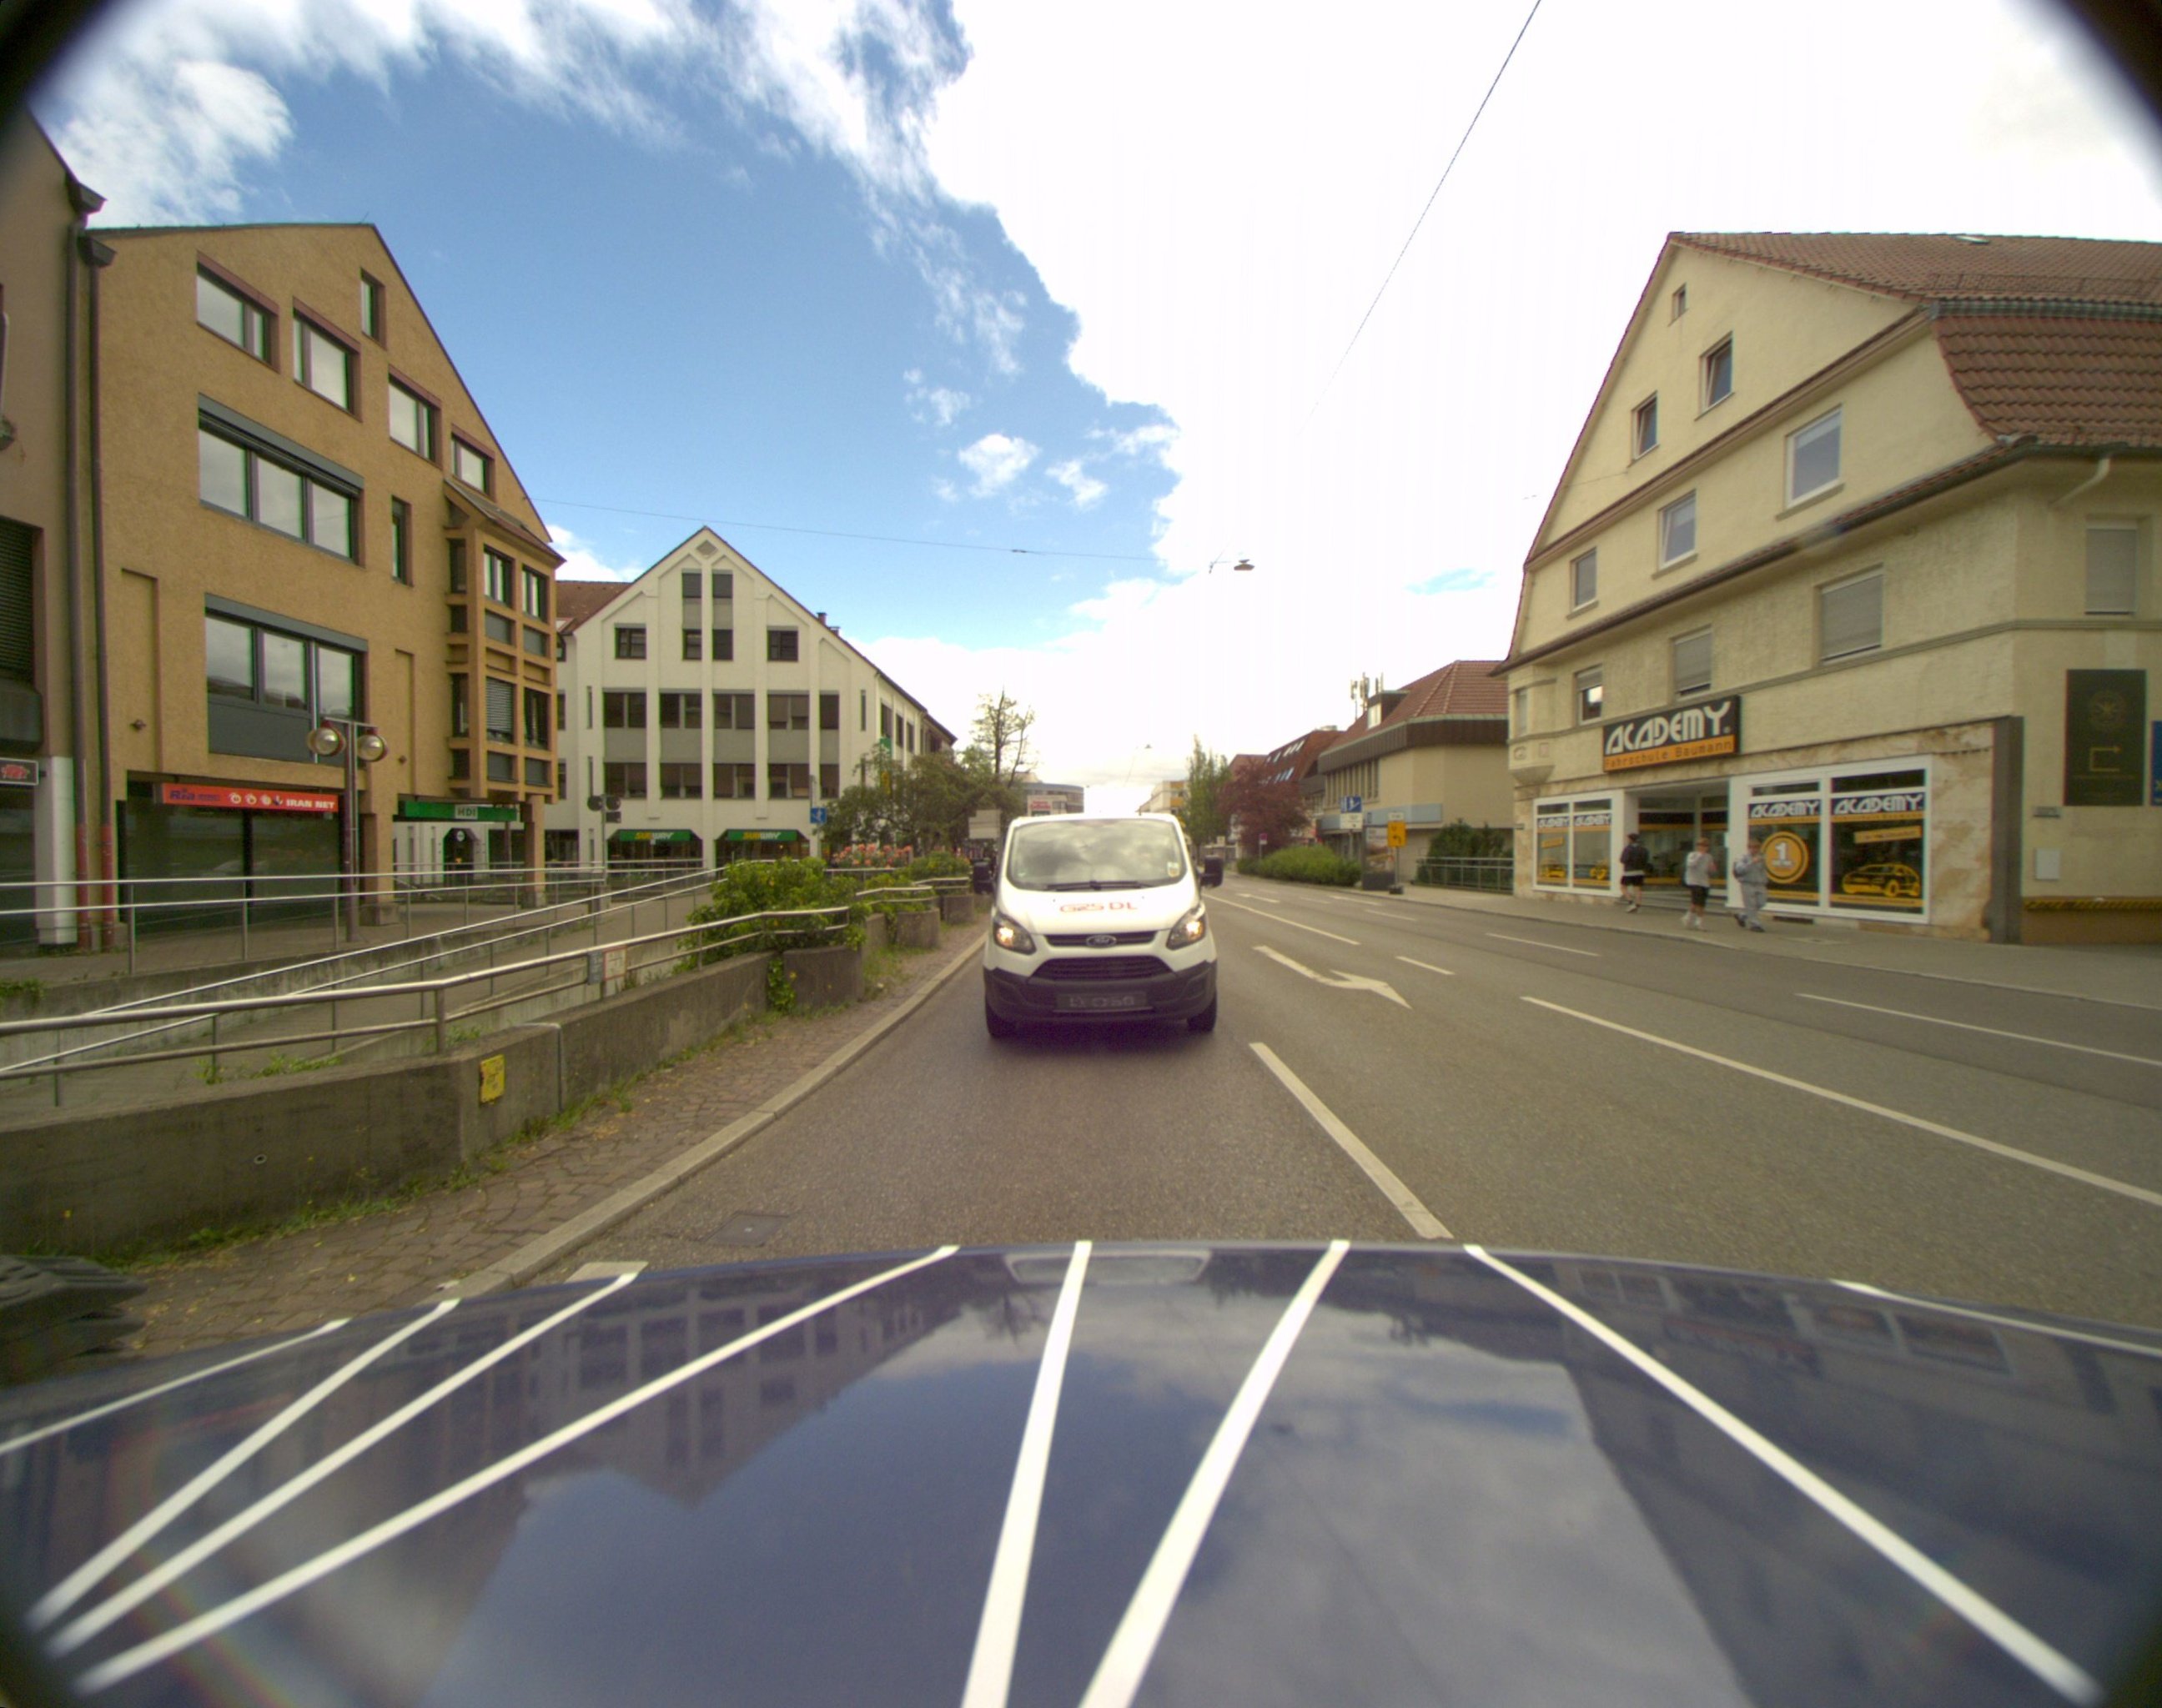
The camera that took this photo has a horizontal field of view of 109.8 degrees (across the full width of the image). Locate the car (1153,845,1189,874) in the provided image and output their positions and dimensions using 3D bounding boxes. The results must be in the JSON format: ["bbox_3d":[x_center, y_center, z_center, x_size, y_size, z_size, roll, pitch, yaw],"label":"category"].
[{"bbox_3d":[6.063,0.365,51.642,1.957,1.898,4.321,0,0,0],"label":"car"}]

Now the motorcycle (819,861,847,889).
[{"bbox_3d":[-10.132,0.838,31.090,0.464,1.062,1.995,0,0,0],"label":"motorcycle"}]

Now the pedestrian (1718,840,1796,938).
[{"bbox_3d":[12.081,0.611,13.592,0.689,1.660,0.709,-3,1,0],"label":"pedestrian"}]

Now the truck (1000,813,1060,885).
[{"bbox_3d":[-2.605,-0.292,41.398,2.446,3.464,8.346,-2,1,1],"label":"truck"}]

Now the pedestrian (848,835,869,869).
[{"bbox_3d":[-12.141,-0.114,41.523,0.871,1.812,0.785,-2,1,-4],"label":"pedestrian"}]

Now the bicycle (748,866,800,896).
[{"bbox_3d":[-10.562,0.926,26.195,1.594,0.996,0.414,-1,1,-13],"label":"bicycle"}]

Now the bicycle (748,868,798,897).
[{"bbox_3d":[-10.917,0.999,26.993,1.594,0.963,0.461,-1,1,-14],"label":"bicycle"}]

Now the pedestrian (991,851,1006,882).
[{"bbox_3d":[-4.195,0.623,38.707,0.653,1.568,0.684,-1,1,1],"label":"pedestrian"}]

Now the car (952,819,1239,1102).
[{"bbox_3d":[0.102,0.726,7.828,1.964,1.948,5.163,0,0,0],"label":"car"}]

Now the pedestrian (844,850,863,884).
[{"bbox_3d":[-12.039,0.687,40.202,0.887,1.747,0.943,-1,1,-11],"label":"pedestrian"}]

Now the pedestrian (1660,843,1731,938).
[{"bbox_3d":[11.230,0.656,13.907,0.689,1.680,0.742,-2,1,0],"label":"pedestrian"}]

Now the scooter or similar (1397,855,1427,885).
[{"bbox_3d":[15.496,0.723,35.601,1.193,1.385,0.538,0,1,-15],"label":"scooter or similar"}]

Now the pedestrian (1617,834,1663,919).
[{"bbox_3d":[12.696,0.507,17.265,0.551,1.878,0.592,-2,1,-4],"label":"pedestrian"}]

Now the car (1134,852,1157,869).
[{"bbox_3d":[5.541,0.542,65.320,1.650,1.391,3.541,0,0,0],"label":"car"}]
